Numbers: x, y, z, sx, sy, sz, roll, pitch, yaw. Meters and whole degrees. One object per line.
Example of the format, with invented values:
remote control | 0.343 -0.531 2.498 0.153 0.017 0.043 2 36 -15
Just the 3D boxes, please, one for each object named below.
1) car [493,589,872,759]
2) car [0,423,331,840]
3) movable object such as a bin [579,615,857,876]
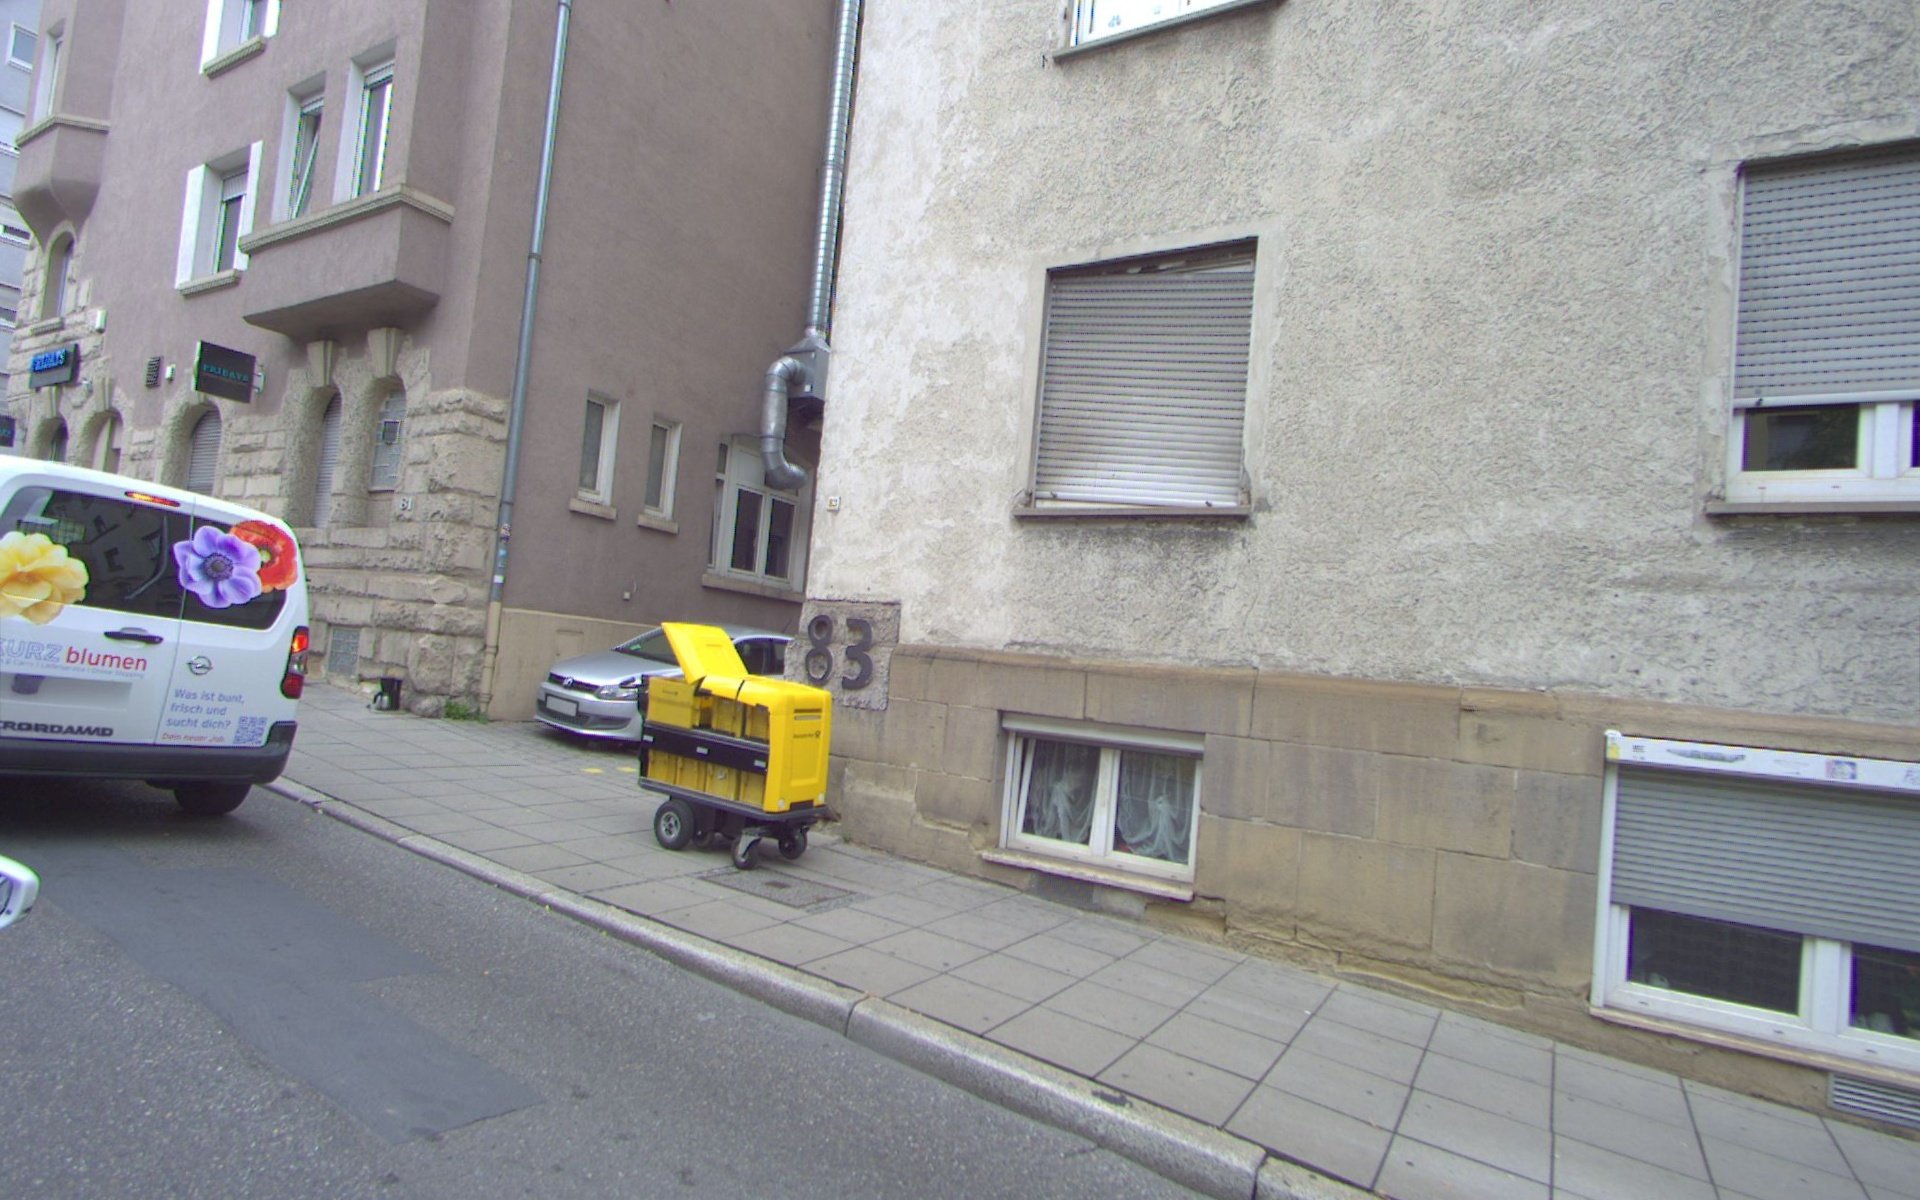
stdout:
car | -3.030 0.937 11.819 1.770 1.419 3.996 9 -1 32
car | -6.079 0.039 6.200 4.944 1.844 1.852 5 -4 36
movable object such as a bin | -1.656 0.922 6.830 1.665 1.437 0.720 6 -1 30
